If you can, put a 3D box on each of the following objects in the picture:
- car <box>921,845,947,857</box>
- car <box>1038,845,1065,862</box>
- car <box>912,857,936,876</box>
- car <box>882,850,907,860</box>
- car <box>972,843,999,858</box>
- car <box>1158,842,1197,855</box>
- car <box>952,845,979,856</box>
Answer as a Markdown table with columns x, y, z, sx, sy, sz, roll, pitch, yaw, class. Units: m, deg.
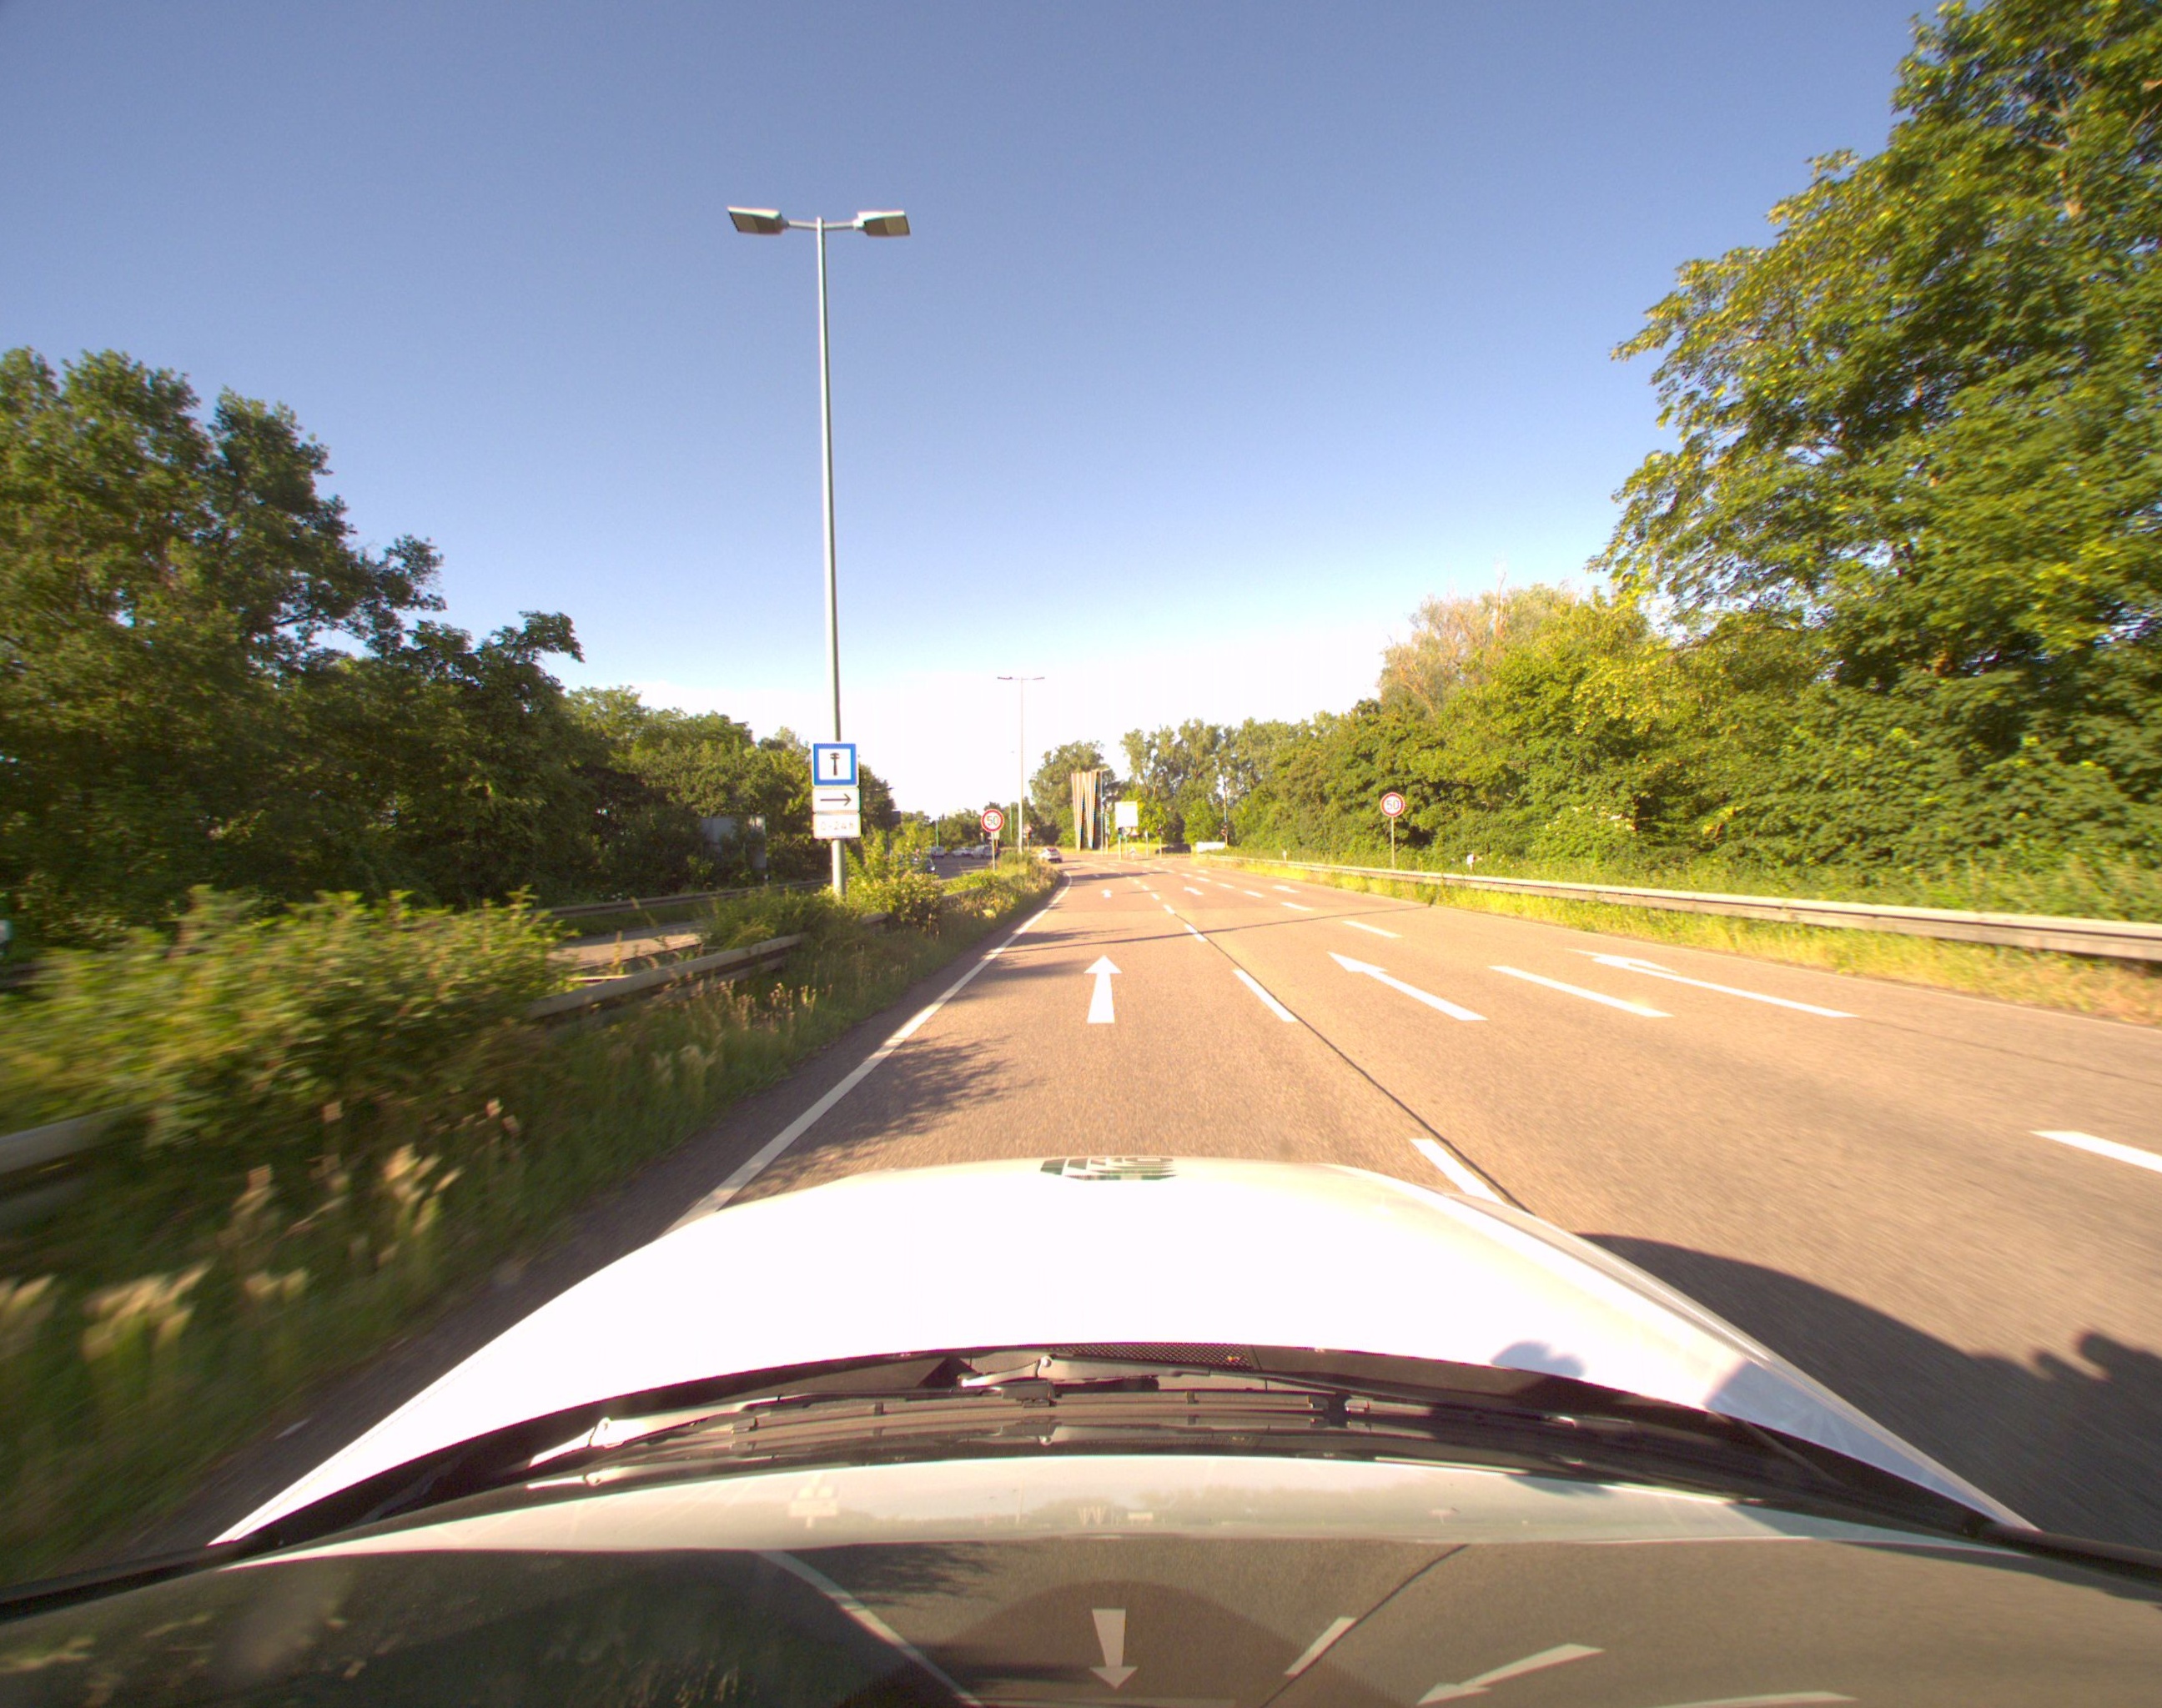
| x | y | z | sx | sy | sz | roll | pitch | yaw | class |
| --- | --- | --- | --- | --- | --- | --- | --- | --- | --- |
| -22.239 | -0.468 | 122.915 | 1.986 | 1.698 | 3.952 | -3 | 2 | -42 | car |
| -3.127 | -0.062 | 85.843 | 1.997 | 1.640 | 4.108 | -2 | 1 | -14 | car |
| -13.364 | 1.065 | 69.482 | 1.886 | 1.420 | 4.349 | -4 | 0 | -10 | car |
| -31.410 | 0.228 | 137.032 | 3.950 | 1.508 | 2.287 | -2 | 0 | 44 | car |
| -12.884 | -0.491 | 110.102 | 2.007 | 1.879 | 4.207 | -3 | 1 | -31 | car |
| 11.937 | -0.742 | 100.667 | 4.454 | 1.464 | 1.995 | -2 | 1 | -7 | car |
| -17.433 | -0.537 | 122.853 | 1.987 | 1.474 | 4.104 | -3 | 2 | -43 | car |
